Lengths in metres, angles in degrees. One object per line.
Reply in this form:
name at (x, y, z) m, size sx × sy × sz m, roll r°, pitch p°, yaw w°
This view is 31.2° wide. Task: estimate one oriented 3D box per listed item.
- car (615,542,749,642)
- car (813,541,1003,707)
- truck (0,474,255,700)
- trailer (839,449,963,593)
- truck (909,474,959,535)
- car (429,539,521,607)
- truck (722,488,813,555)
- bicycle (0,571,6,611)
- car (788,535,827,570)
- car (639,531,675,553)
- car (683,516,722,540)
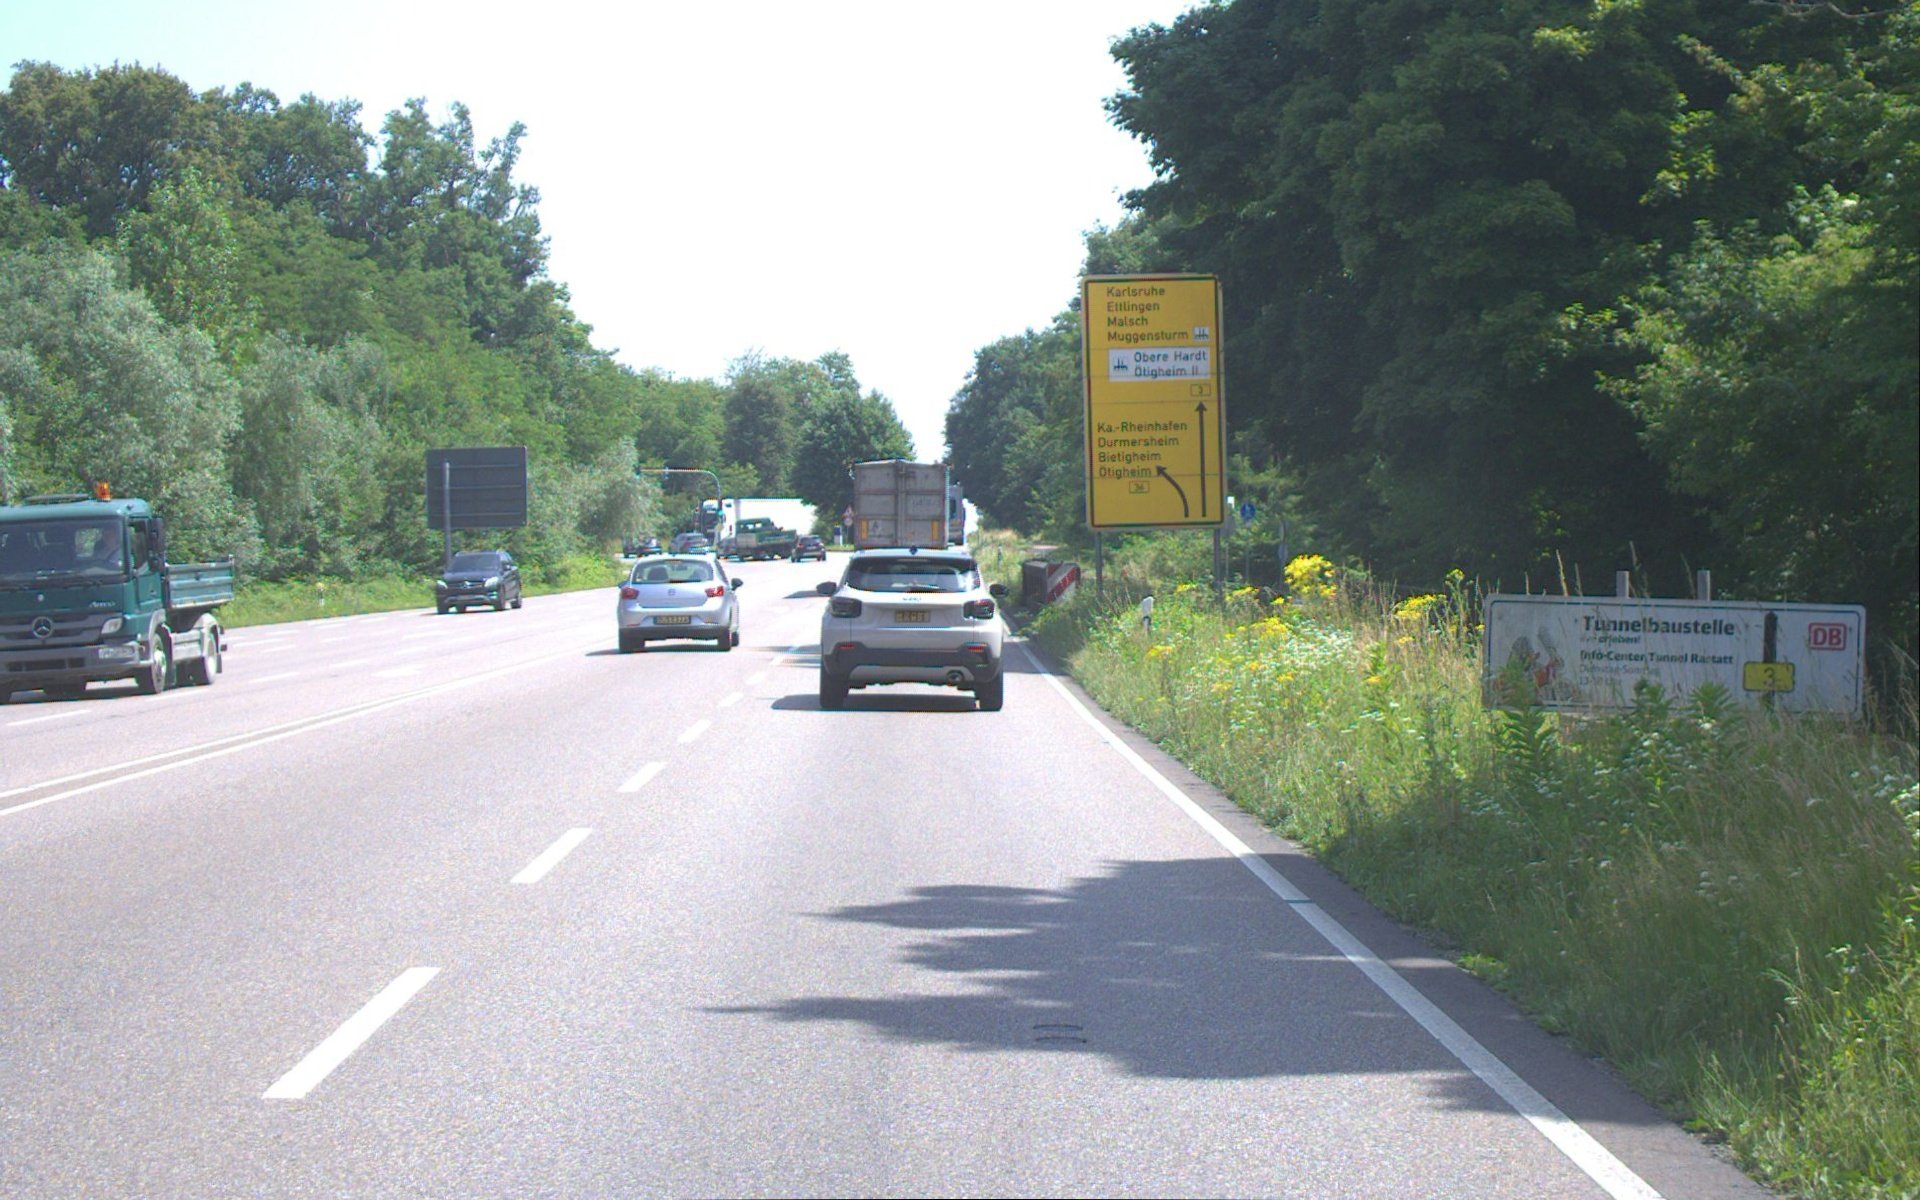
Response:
car at (-4.148, -0.147, 51.716) m, size 1.666 × 1.425 × 3.828 m, roll 0°, pitch 1°, yaw 0°
car at (-0.470, 0.196, 34.334) m, size 1.767 × 1.529 × 4.000 m, roll -1°, pitch 1°, yaw 1°
truck at (-11.251, -0.216, 45.178) m, size 2.454 × 2.647 × 6.491 m, roll -4°, pitch 1°, yaw 0°
trailer at (-1.618, -2.249, 100.212) m, size 3.382 × 3.975 × 10.804 m, roll 0°, pitch 1°, yaw 0°
truck at (-1.906, -6.792, 246.183) m, size 3.497 × 4.173 × 10.785 m, roll 0°, pitch 1°, yaw -1°
car at (-14.209, -0.804, 100.919) m, size 1.993 × 1.875 × 4.960 m, roll -2°, pitch 1°, yaw -1°
truck at (-12.143, -4.899, 215.938) m, size 3.645 × 4.091 × 9.512 m, roll 0°, pitch 1°, yaw -16°
bicycle at (-24.410, -0.196, 85.599) m, size 0.604 × 1.002 × 1.555 m, roll -2°, pitch 1°, yaw 11°
car at (-8.831, -2.731, 199.625) m, size 1.993 × 2.007 × 4.554 m, roll 0°, pitch 1°, yaw 1°
car at (-21.760, -4.149, 246.875) m, size 1.993 × 1.579 × 4.001 m, roll 0°, pitch 1°, yaw -14°
car at (-17.450, -4.867, 233.182) m, size 1.993 × 1.579 × 4.001 m, roll 0°, pitch 1°, yaw -14°
